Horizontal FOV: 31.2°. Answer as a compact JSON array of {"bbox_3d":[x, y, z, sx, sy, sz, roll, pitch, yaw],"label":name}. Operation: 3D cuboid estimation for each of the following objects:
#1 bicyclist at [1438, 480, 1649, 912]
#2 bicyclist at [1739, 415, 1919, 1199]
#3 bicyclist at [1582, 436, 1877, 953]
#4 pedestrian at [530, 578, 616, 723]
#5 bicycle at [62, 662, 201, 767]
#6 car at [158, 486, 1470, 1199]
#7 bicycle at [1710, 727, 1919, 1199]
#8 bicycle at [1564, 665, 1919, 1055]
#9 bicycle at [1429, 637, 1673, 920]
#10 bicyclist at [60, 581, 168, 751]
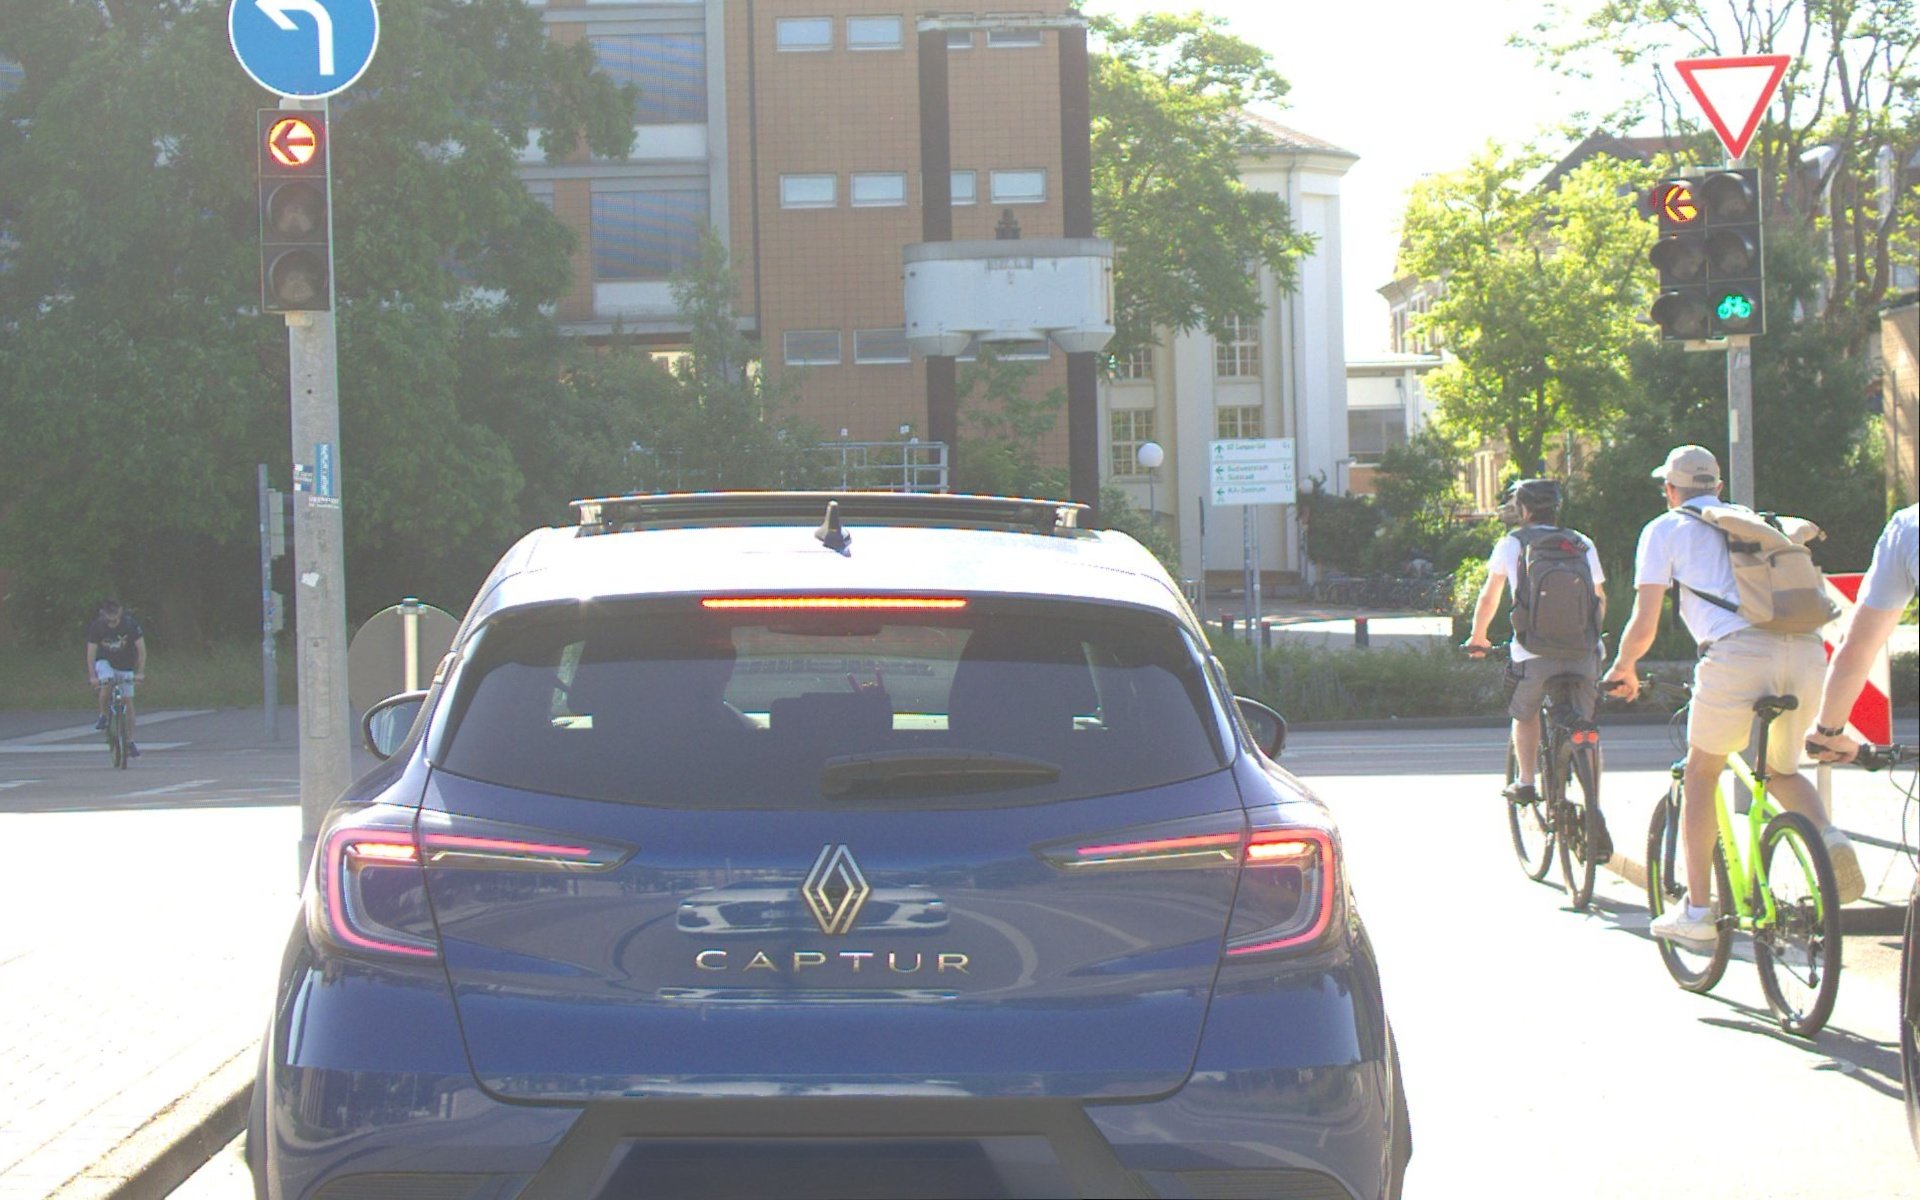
[{"bbox_3d":[2.490,0.388,14.769,0.699,1.785,1.142,0,1,-1],"label":"bicyclist"},{"bbox_3d":[2.218,0.504,7.679,0.683,1.785,1.142,0,1,-1],"label":"bicyclist"},{"bbox_3d":[2.468,0.283,11.136,0.678,1.589,1.142,0,1,-1],"label":"bicyclist"},{"bbox_3d":[-5.055,0.653,44.974,0.814,1.856,0.909,-1,1,13],"label":"pedestrian"},{"bbox_3d":[-8.631,1.179,35.917,0.755,0.981,2.093,-1,1,5],"label":"bicycle"},{"bbox_3d":[-0.276,0.611,6.654,1.788,1.580,3.915,0,1,-2],"label":"car"},{"bbox_3d":[2.222,0.870,7.598,0.689,1.085,1.922,0,1,-1],"label":"bicycle"},{"bbox_3d":[2.469,0.784,11.078,0.689,1.085,1.922,0,1,-1],"label":"bicycle"},{"bbox_3d":[2.496,0.725,14.718,0.689,1.085,1.922,0,1,-1],"label":"bicycle"},{"bbox_3d":[-8.694,0.669,35.372,0.755,1.710,0.998,-1,1,5],"label":"bicyclist"}]
